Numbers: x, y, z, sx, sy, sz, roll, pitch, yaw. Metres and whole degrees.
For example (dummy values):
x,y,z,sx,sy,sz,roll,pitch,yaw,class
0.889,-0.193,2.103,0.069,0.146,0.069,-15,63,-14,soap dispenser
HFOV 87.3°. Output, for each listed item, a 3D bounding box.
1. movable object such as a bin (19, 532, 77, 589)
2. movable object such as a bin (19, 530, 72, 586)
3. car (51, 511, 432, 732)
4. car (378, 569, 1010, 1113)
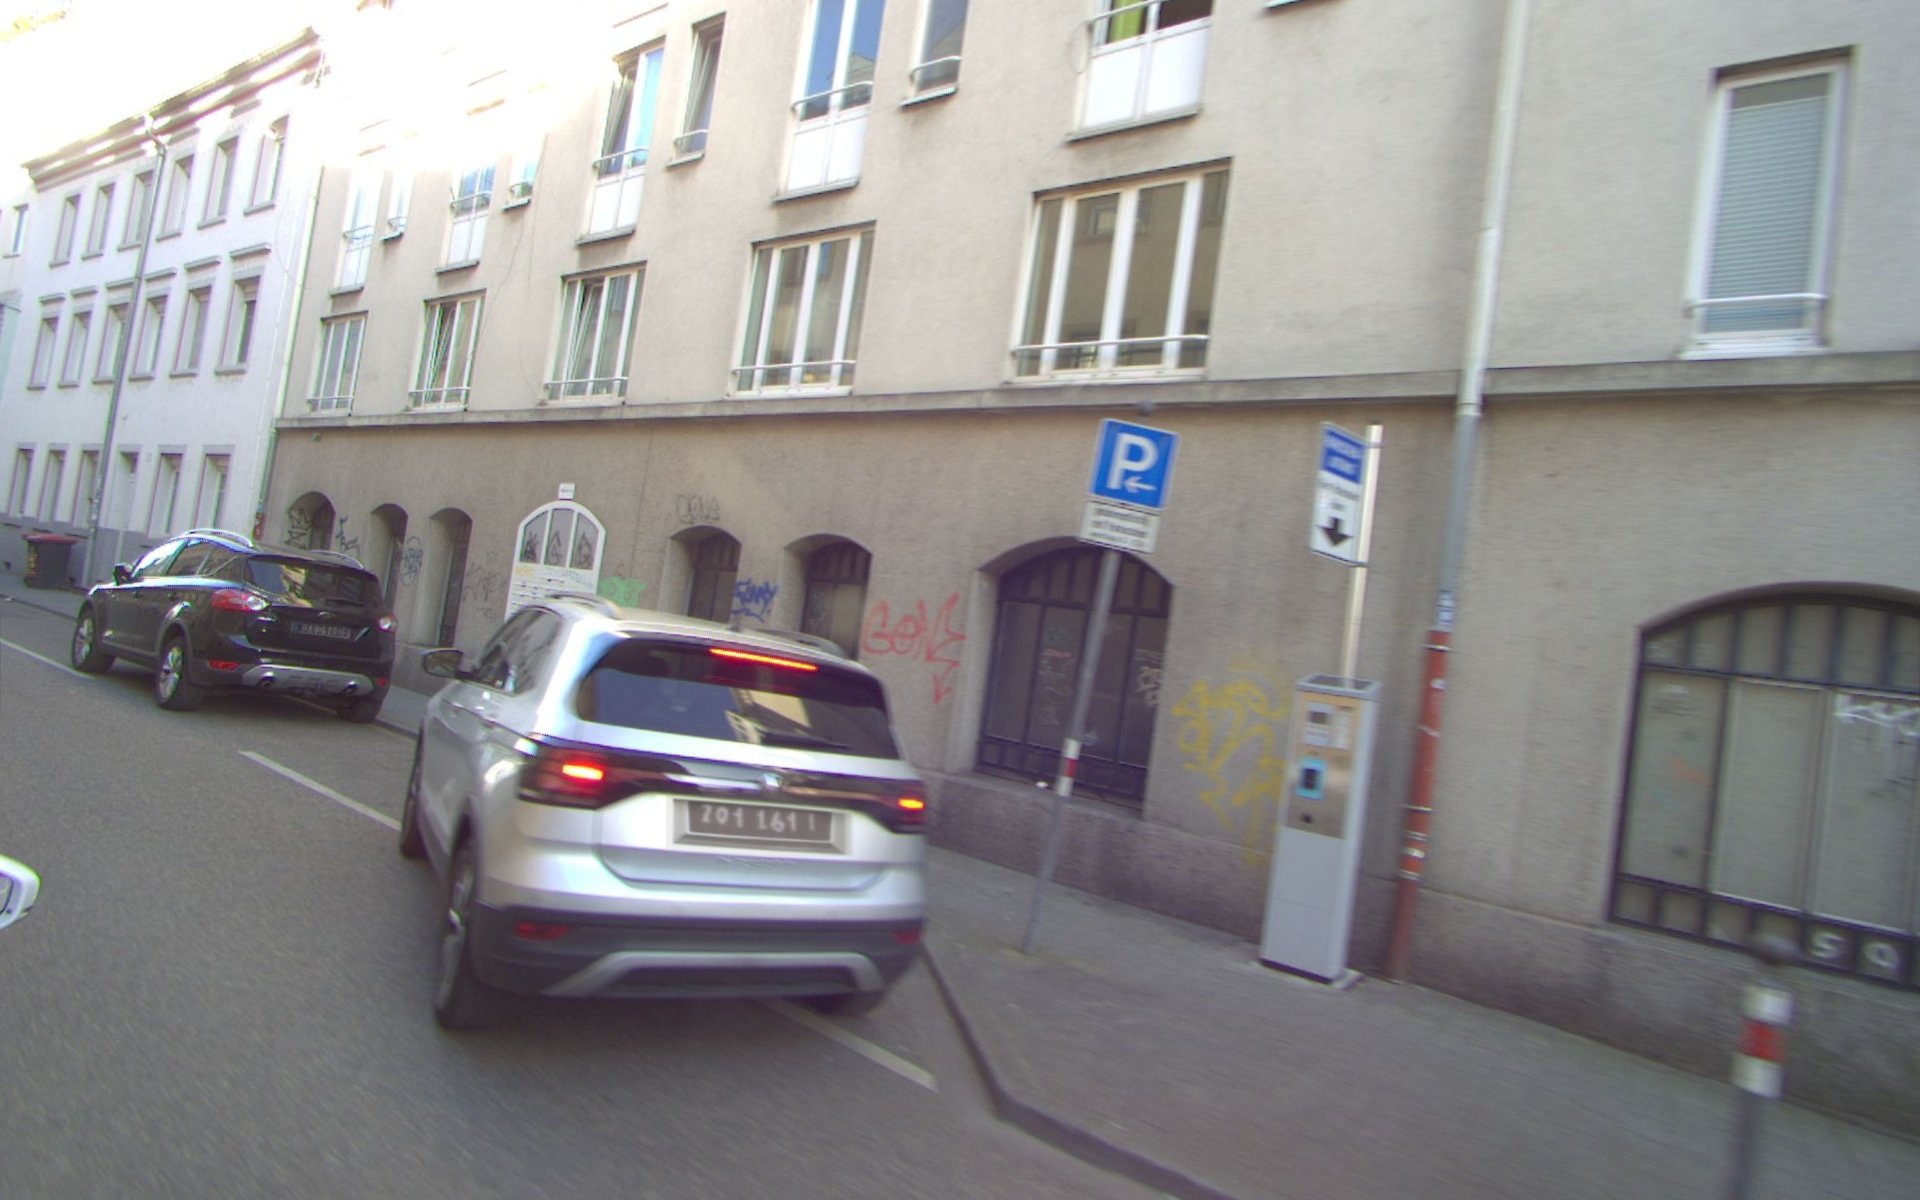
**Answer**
x,y,z,sx,sy,sz,roll,pitch,yaw,class
-18.536,-0.800,20.458,0.696,1.065,0.627,7,2,27,movable object such as a bin
-19.108,-0.881,21.016,0.696,1.065,0.606,7,2,31,movable object such as a bin
-7.756,0.161,10.720,4.424,1.672,1.829,7,-4,36,car
-1.710,0.794,5.081,1.815,1.575,3.955,11,-4,-32,car
